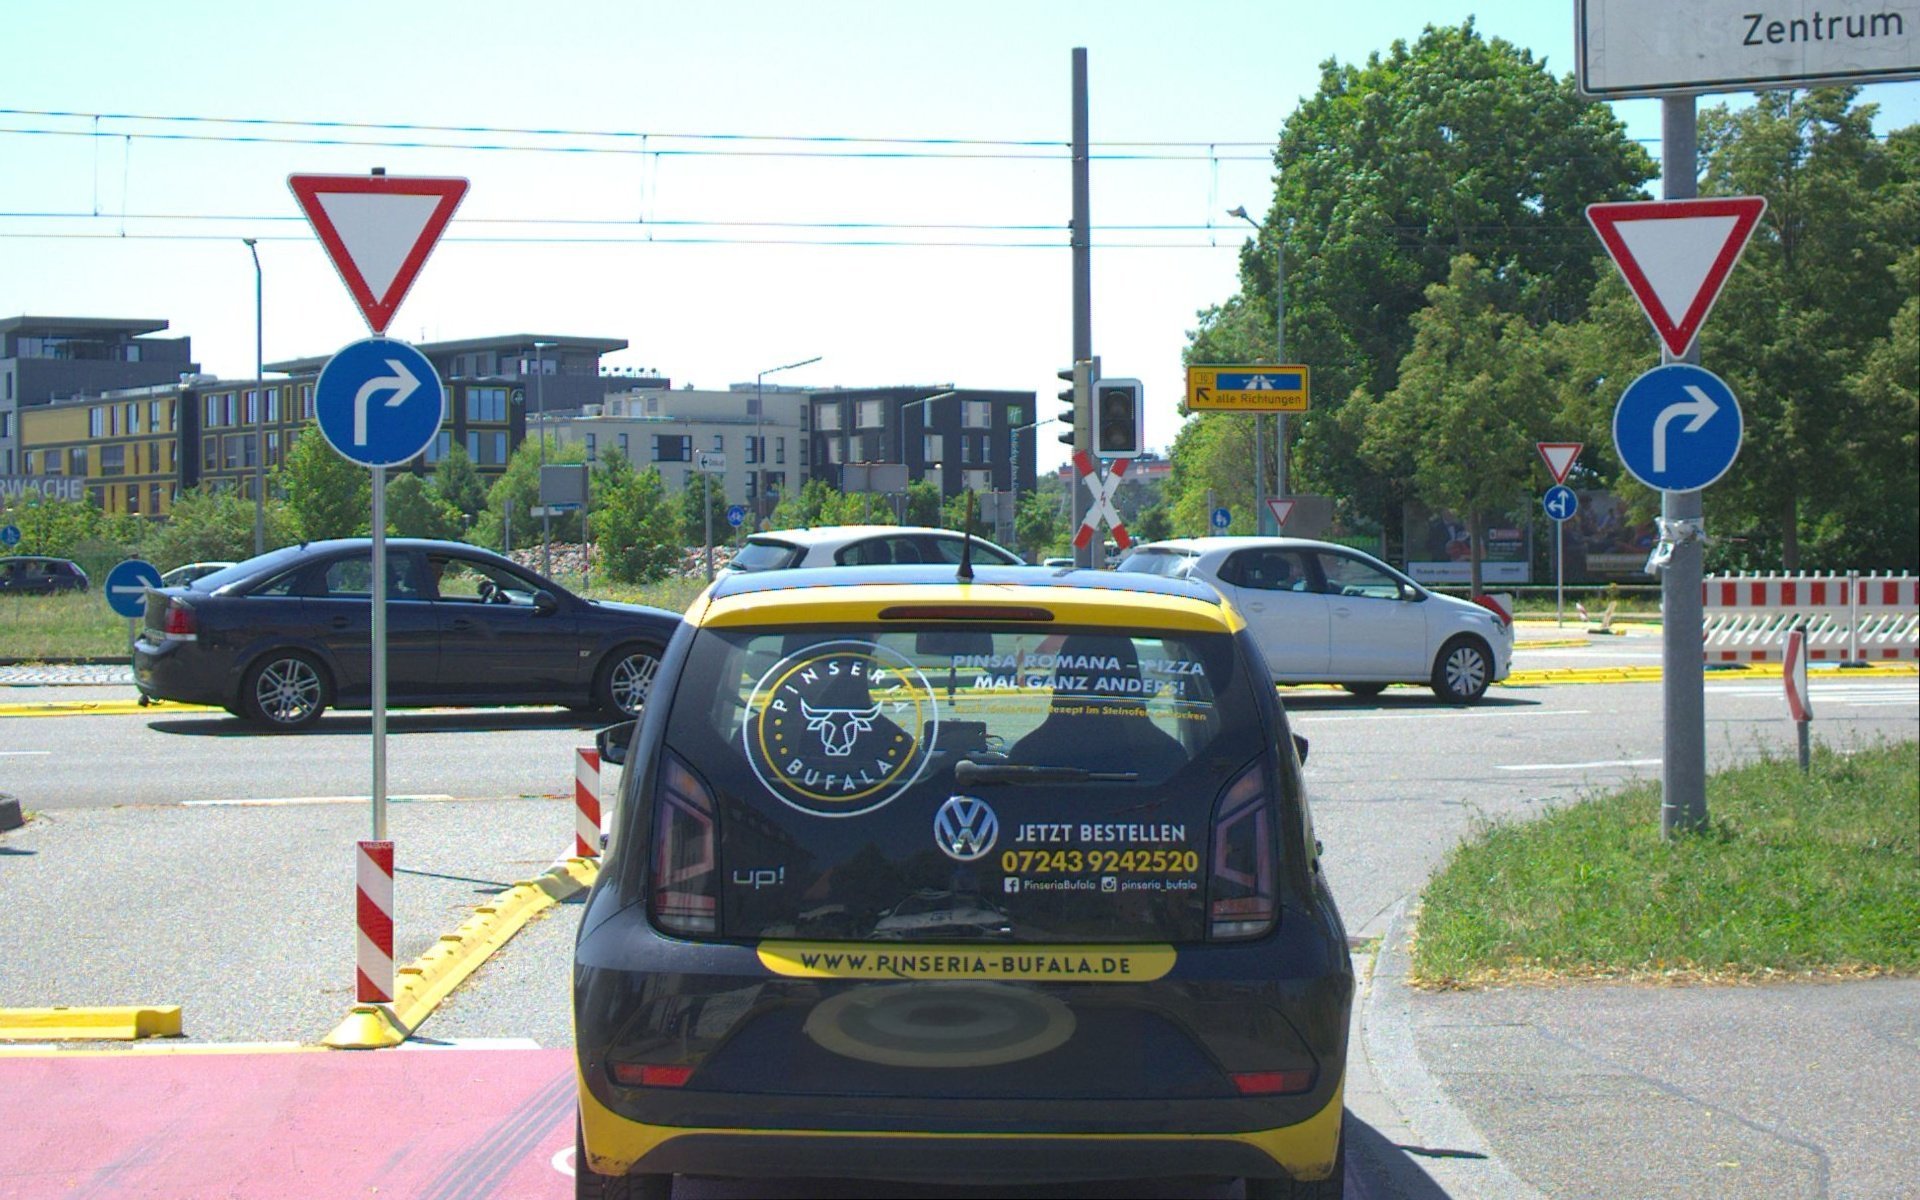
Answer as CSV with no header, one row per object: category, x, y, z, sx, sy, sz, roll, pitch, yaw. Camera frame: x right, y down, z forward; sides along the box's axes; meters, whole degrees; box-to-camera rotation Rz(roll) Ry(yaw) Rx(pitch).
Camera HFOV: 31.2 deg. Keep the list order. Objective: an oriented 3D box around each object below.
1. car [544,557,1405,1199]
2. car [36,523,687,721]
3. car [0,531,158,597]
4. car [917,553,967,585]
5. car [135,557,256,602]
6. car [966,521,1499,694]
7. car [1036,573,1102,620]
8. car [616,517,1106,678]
car,-0.016,0.633,8.533,1.618,1.446,3.987,1,1,-1
car,-4.696,0.168,26.857,4.741,1.444,2.001,1,1,-19
car,-20.345,-0.824,77.981,4.034,1.456,1.730,0,1,-20
car,-0.623,-1.114,122.902,1.493,1.086,3.520,0,1,5
car,-19.678,-0.531,88.566,2.886,1.151,1.205,0,1,-2
car,2.415,0.063,30.336,4.336,1.444,1.857,1,1,-27
car,3.311,-0.110,103.554,1.659,1.368,3.031,0,1,8
car,-0.953,-0.056,33.584,4.352,1.481,2.000,-1,1,-29
